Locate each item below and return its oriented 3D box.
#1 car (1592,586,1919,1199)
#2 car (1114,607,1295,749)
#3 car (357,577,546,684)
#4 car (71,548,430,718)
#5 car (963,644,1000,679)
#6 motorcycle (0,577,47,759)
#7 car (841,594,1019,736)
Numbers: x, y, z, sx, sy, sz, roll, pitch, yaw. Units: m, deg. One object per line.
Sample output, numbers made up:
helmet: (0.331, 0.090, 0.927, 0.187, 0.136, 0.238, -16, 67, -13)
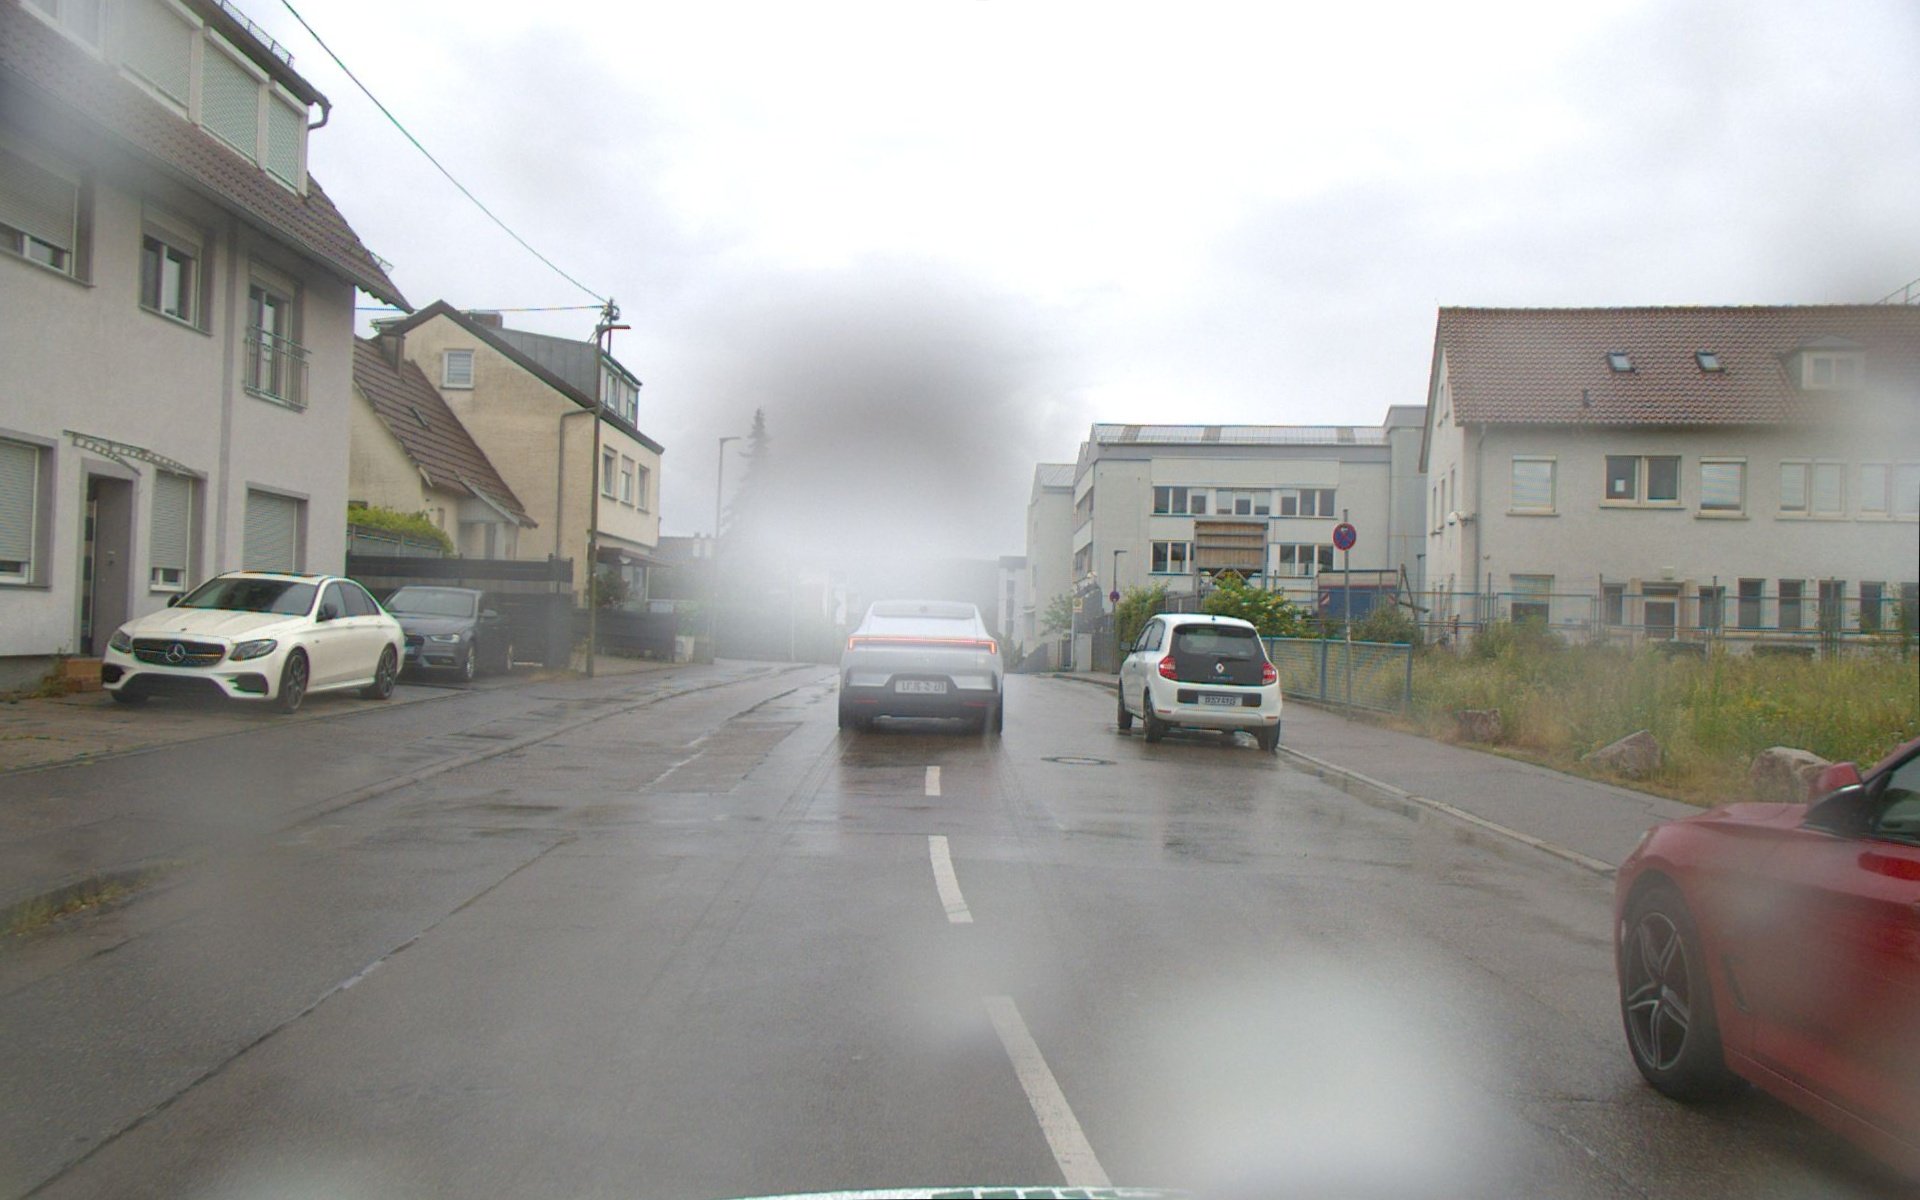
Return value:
car: (3.132, 0.805, 3.756, 1.609, 1.602, 4.644, 3, 0, 1)
car: (3.048, 0.923, 21.259, 1.647, 1.584, 3.673, 3, 0, -1)
car: (-7.911, 0.441, 26.170, 1.791, 1.392, 4.565, 5, 0, -4)
car: (-7.867, 0.340, 18.973, 1.954, 1.536, 4.894, 5, 0, -1)
car: (1.327, 3.834, 102.366, 1.954, 2.049, 3.995, 1, -4, -4)
motorcycle: (-8.041, 0.407, 12.005, 2.315, 1.295, 0.736, 4, -1, -1)
car: (-0.439, 0.724, 20.841, 1.954, 1.528, 4.667, 2, 0, -3)
